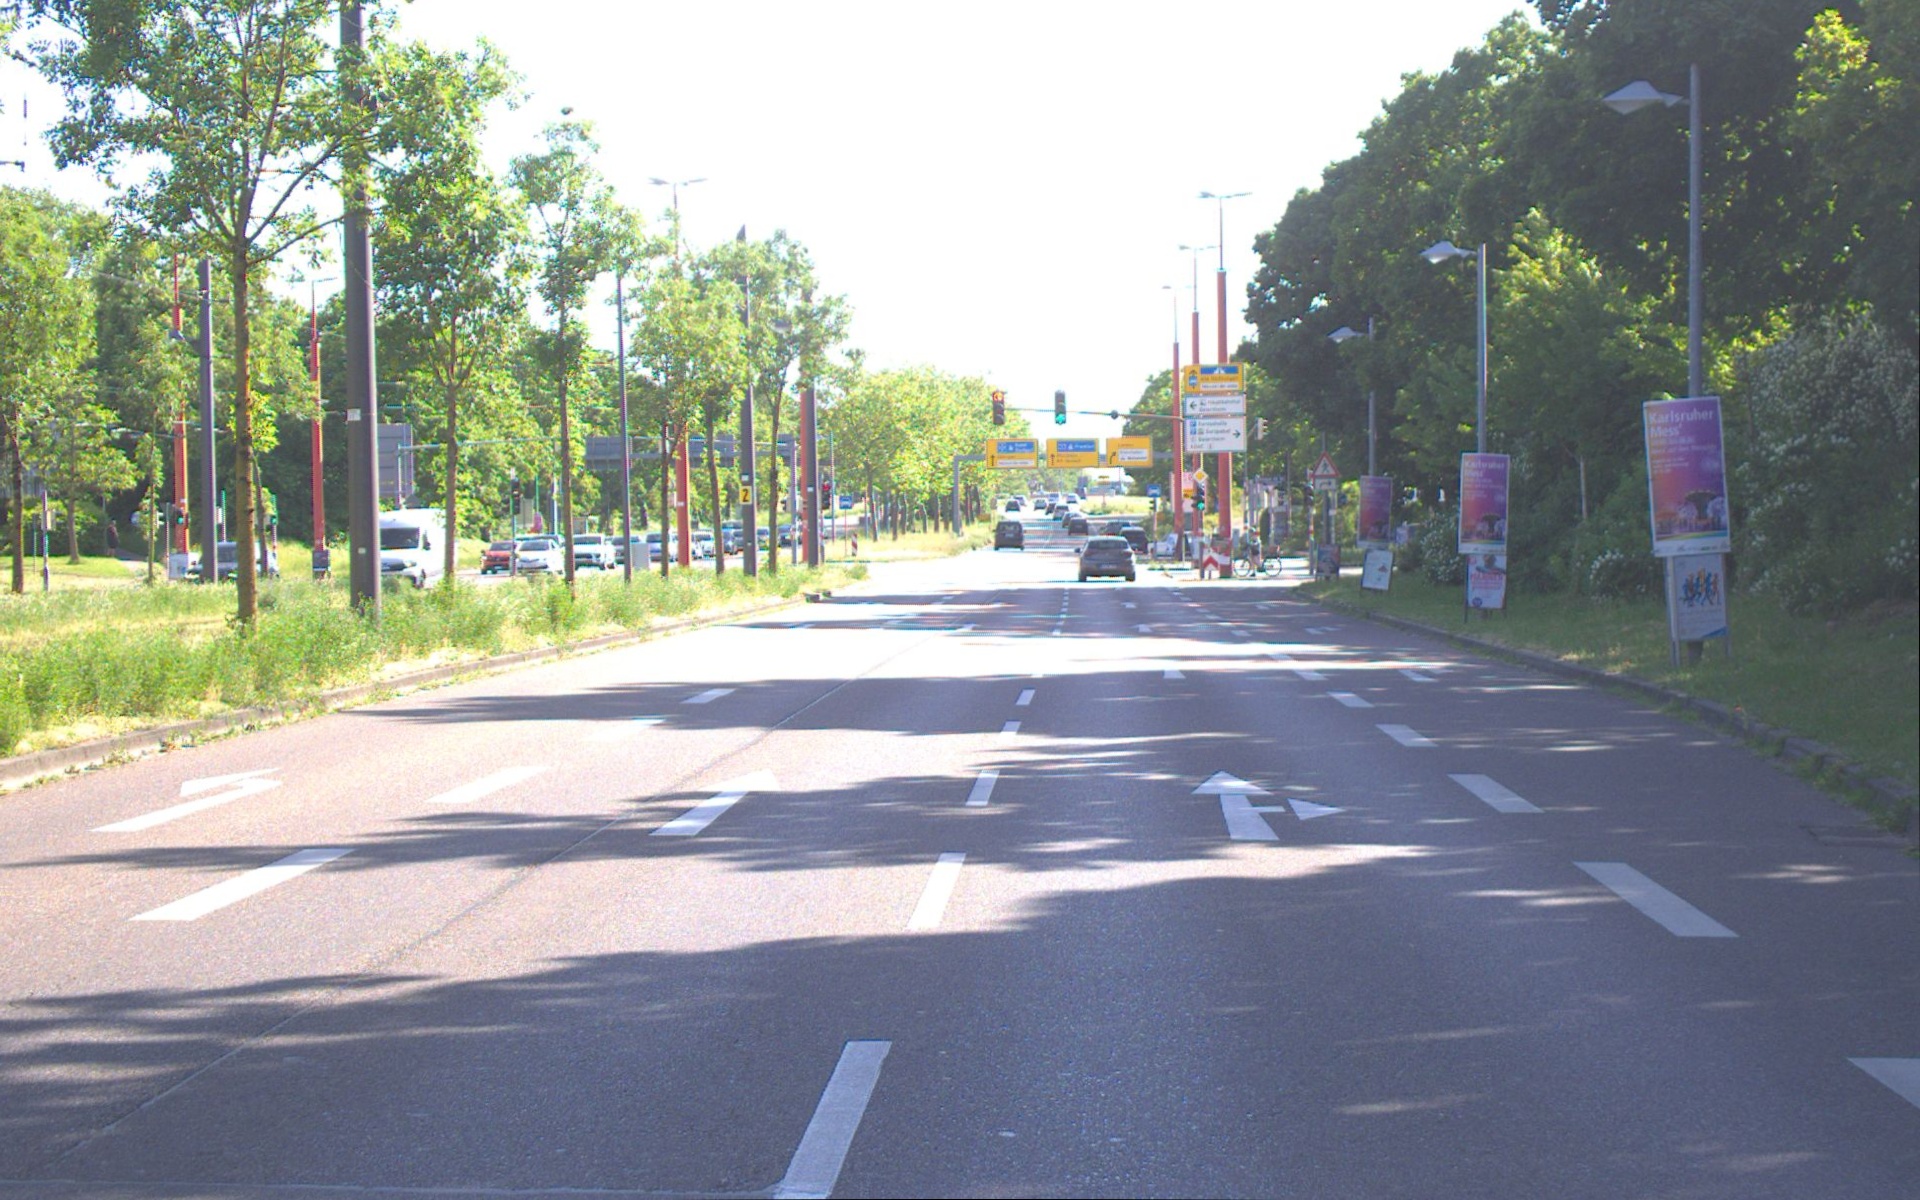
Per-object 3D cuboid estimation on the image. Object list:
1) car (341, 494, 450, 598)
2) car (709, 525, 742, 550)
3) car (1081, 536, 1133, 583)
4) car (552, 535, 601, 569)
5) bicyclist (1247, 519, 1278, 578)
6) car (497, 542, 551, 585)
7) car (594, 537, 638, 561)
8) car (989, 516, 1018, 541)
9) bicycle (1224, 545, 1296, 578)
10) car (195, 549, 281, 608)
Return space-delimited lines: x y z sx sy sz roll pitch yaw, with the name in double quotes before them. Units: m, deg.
"car" -18.237 -1.725 111.373 2.465 3.228 6.134 1 0 0
"car" -13.900 -3.700 203.634 1.631 1.440 4.192 0 1 0
"car" 4.752 -1.317 111.054 1.634 1.493 4.234 0 1 2
"car" -16.588 -2.096 148.780 1.631 1.440 4.192 0 1 0
"bicyclist" 10.271 -1.742 116.758 1.009 2.000 0.812 0 1 2
"car" -17.715 -1.502 139.909 1.631 1.675 4.192 0 1 0
"car" -16.242 -2.398 162.305 1.631 1.107 4.192 0 1 0
"car" 2.629 -4.317 209.012 1.634 1.493 4.234 0 1 2
"bicycle" 10.182 -1.300 116.769 2.415 1.105 0.812 0 1 2
"car" -21.263 -0.665 101.415 1.631 1.675 4.192 0 1 0
